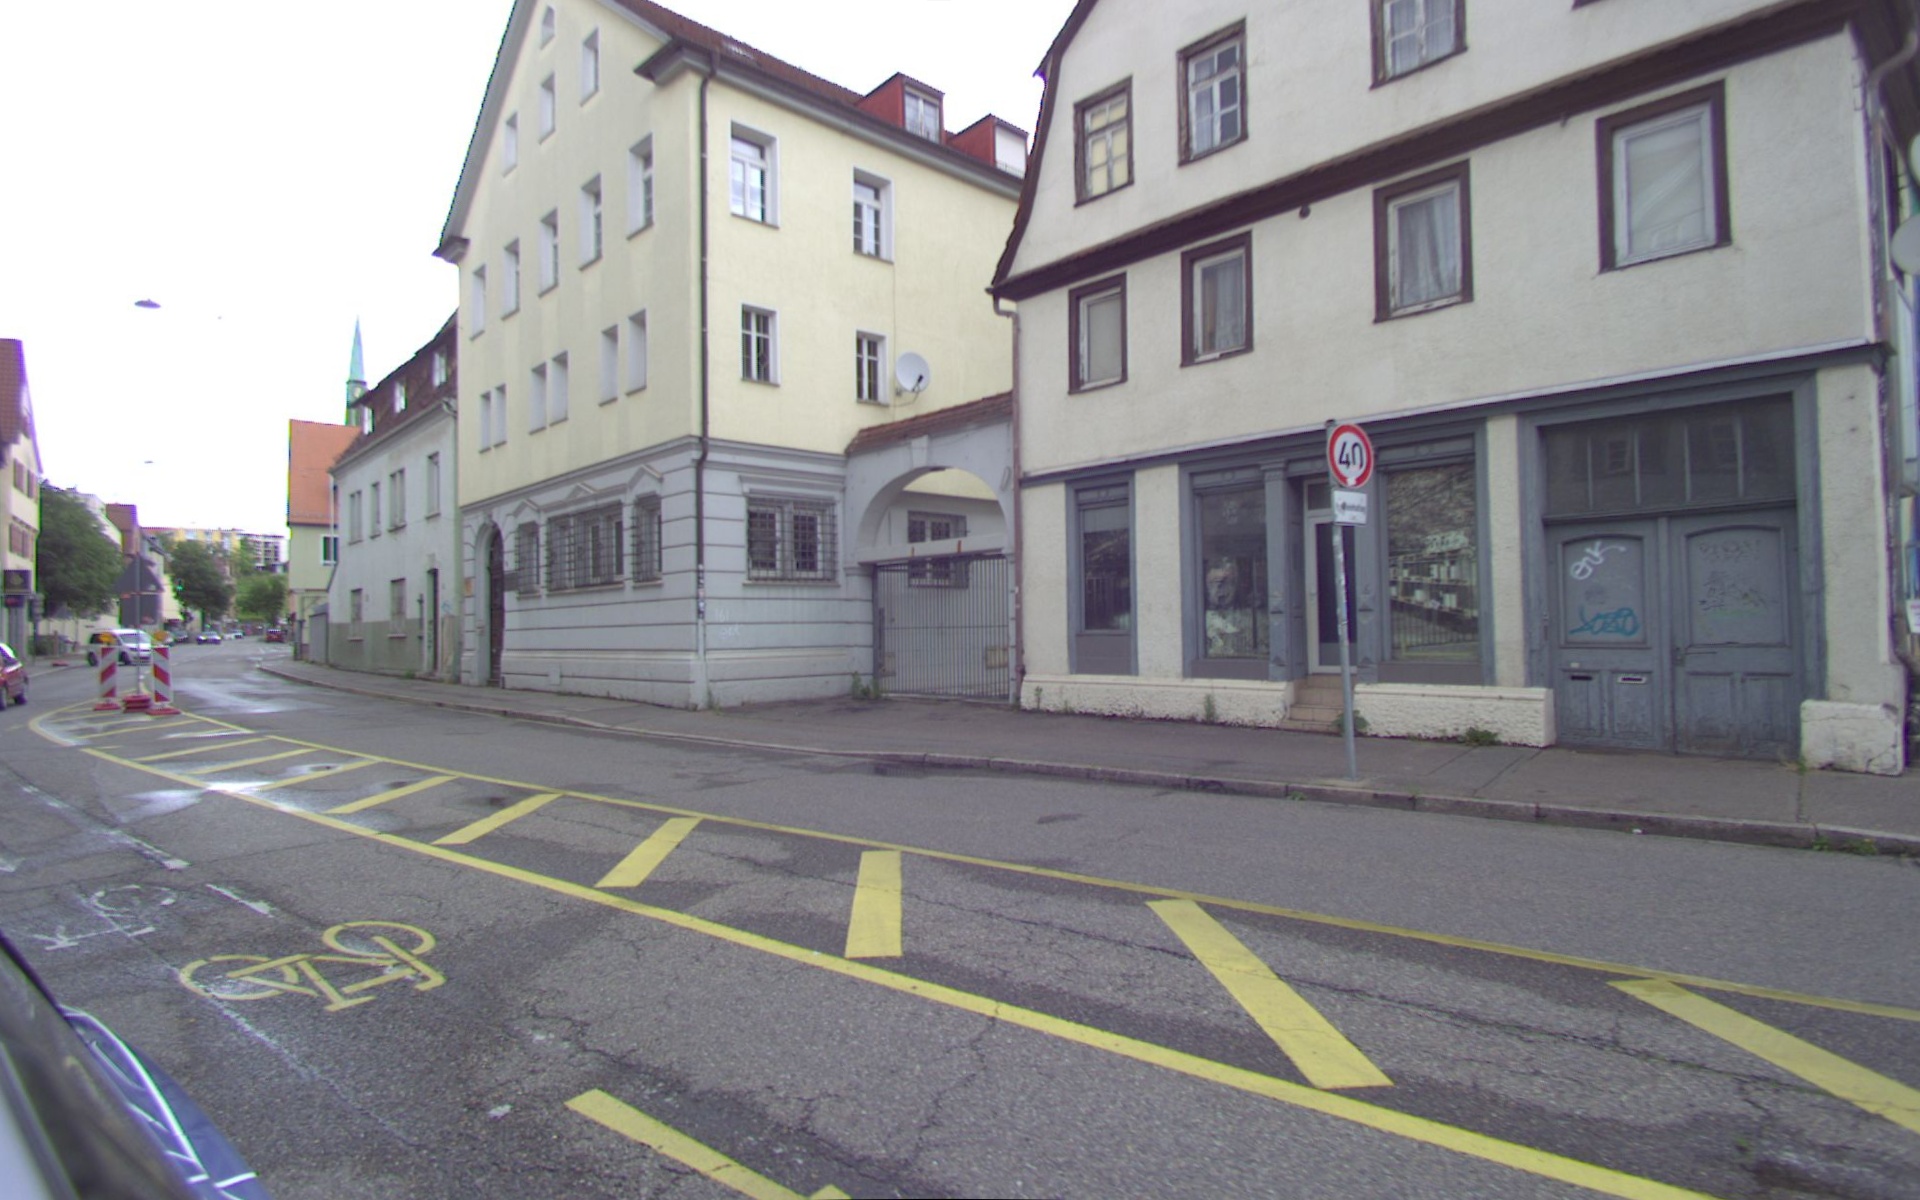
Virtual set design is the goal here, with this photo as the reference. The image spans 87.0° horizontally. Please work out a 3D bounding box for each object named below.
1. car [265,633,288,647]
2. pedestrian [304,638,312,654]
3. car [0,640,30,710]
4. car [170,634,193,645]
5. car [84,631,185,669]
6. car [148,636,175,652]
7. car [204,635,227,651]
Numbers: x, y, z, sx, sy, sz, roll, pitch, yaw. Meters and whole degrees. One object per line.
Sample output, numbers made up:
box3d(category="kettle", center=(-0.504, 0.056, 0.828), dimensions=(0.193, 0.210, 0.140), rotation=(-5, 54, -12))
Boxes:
box3d(category="car", center=(-84.816, 4.963, 125.528), dimensions=(2.178, 1.691, 4.508), rotation=(2, -2, -36))
box3d(category="pedestrian", center=(-65.946, 4.638, 102.321), dimensions=(0.627, 1.618, 0.713), rotation=(2, -2, -35))
box3d(category="car", center=(-20.865, 1.583, 21.048), dimensions=(1.658, 1.438, 4.031), rotation=(1, -3, -34))
box3d(category="car", center=(-95.517, 4.816, 124.196), dimensions=(1.792, 1.399, 4.011), rotation=(1, -2, -33))
box3d(category="car", center=(-41.172, 2.479, 50.479), dimensions=(4.437, 1.801, 1.985), rotation=(0, -2, 22))
box3d(category="car", center=(-83.711, 4.586, 106.109), dimensions=(2.001, 1.567, 4.009), rotation=(2, -2, -36))
box3d(category="car", center=(-83.541, 4.791, 113.549), dimensions=(1.967, 1.691, 4.010), rotation=(0, -1, -35))
